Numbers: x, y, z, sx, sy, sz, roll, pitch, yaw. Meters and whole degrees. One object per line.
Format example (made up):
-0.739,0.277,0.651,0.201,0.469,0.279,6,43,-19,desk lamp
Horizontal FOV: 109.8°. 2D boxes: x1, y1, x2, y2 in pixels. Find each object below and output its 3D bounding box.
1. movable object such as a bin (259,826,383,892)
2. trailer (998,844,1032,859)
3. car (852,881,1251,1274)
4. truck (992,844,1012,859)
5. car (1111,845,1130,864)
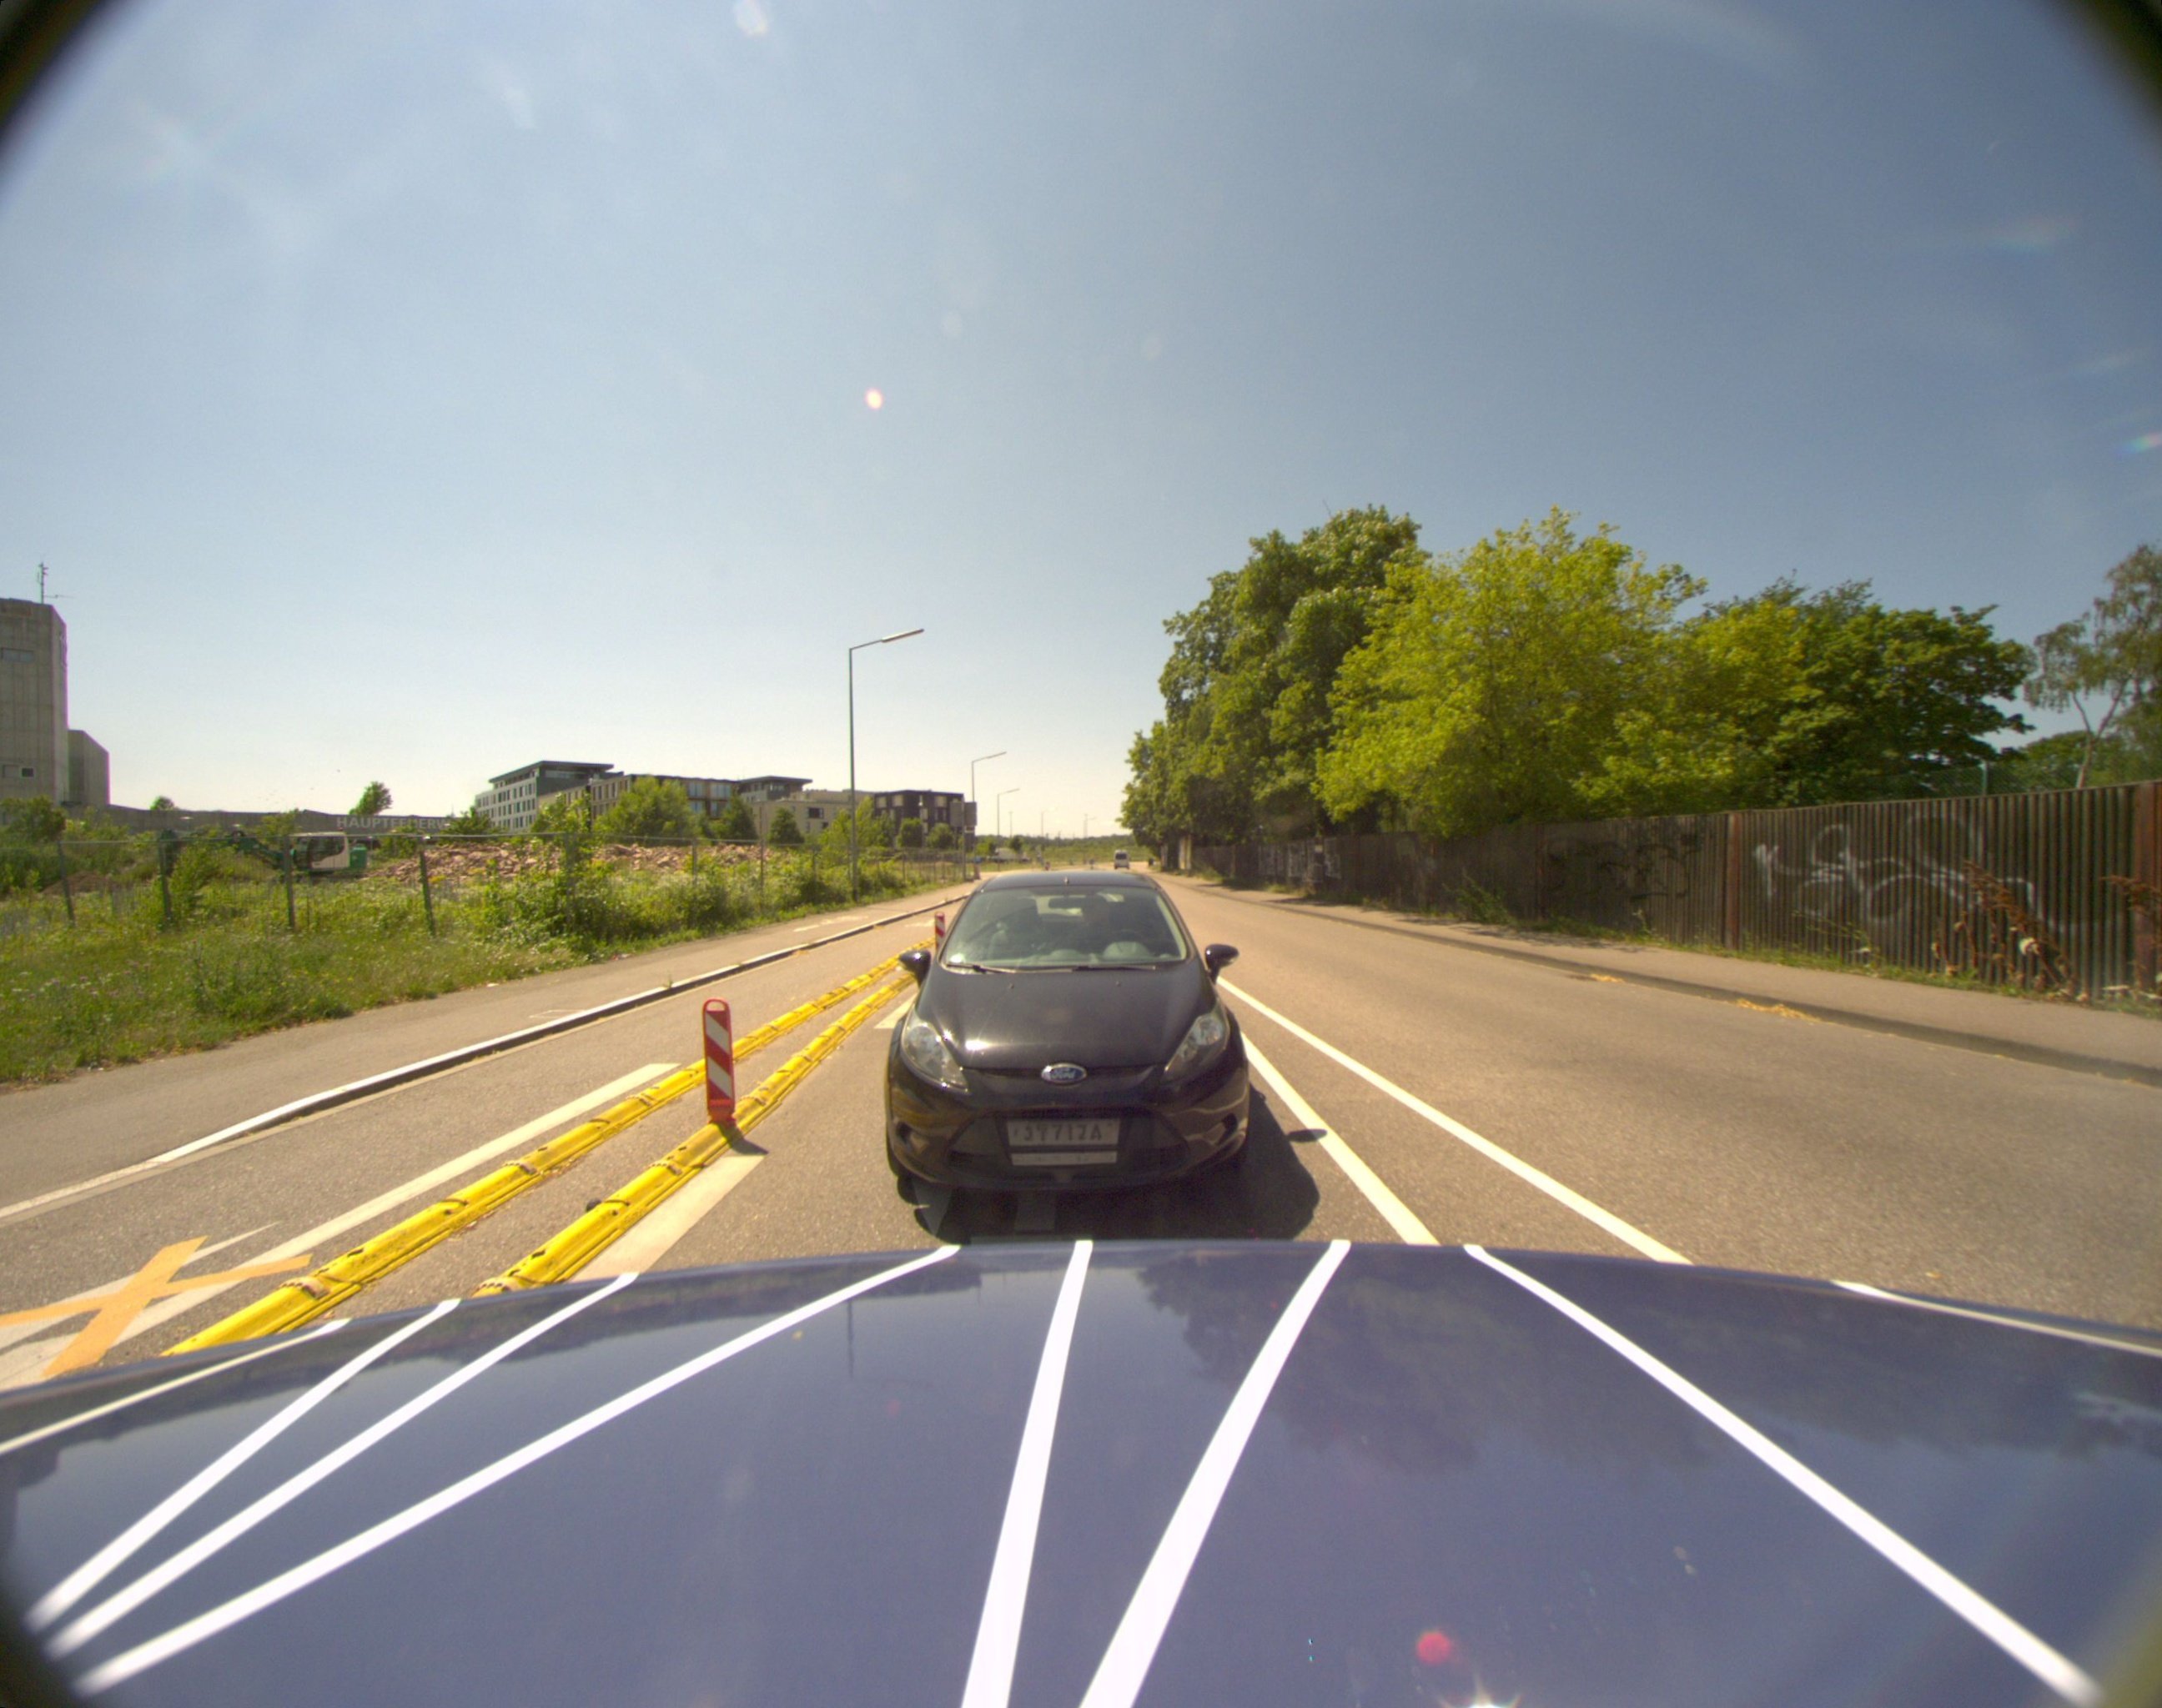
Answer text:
-37.628,0.236,37.775,2.204,3.045,3.690,-2,1,6,movable object such as a bin
-15.128,-0.642,174.437,8.194,3.329,1.994,-1,0,-45,trailer
-0.099,0.995,5.124,1.602,1.422,4.000,-2,0,1,car
-17.885,-0.640,171.697,4.008,3.316,1.994,-1,1,-45,truck
5.545,0.059,106.272,2.025,2.524,6.825,0,0,-2,car
